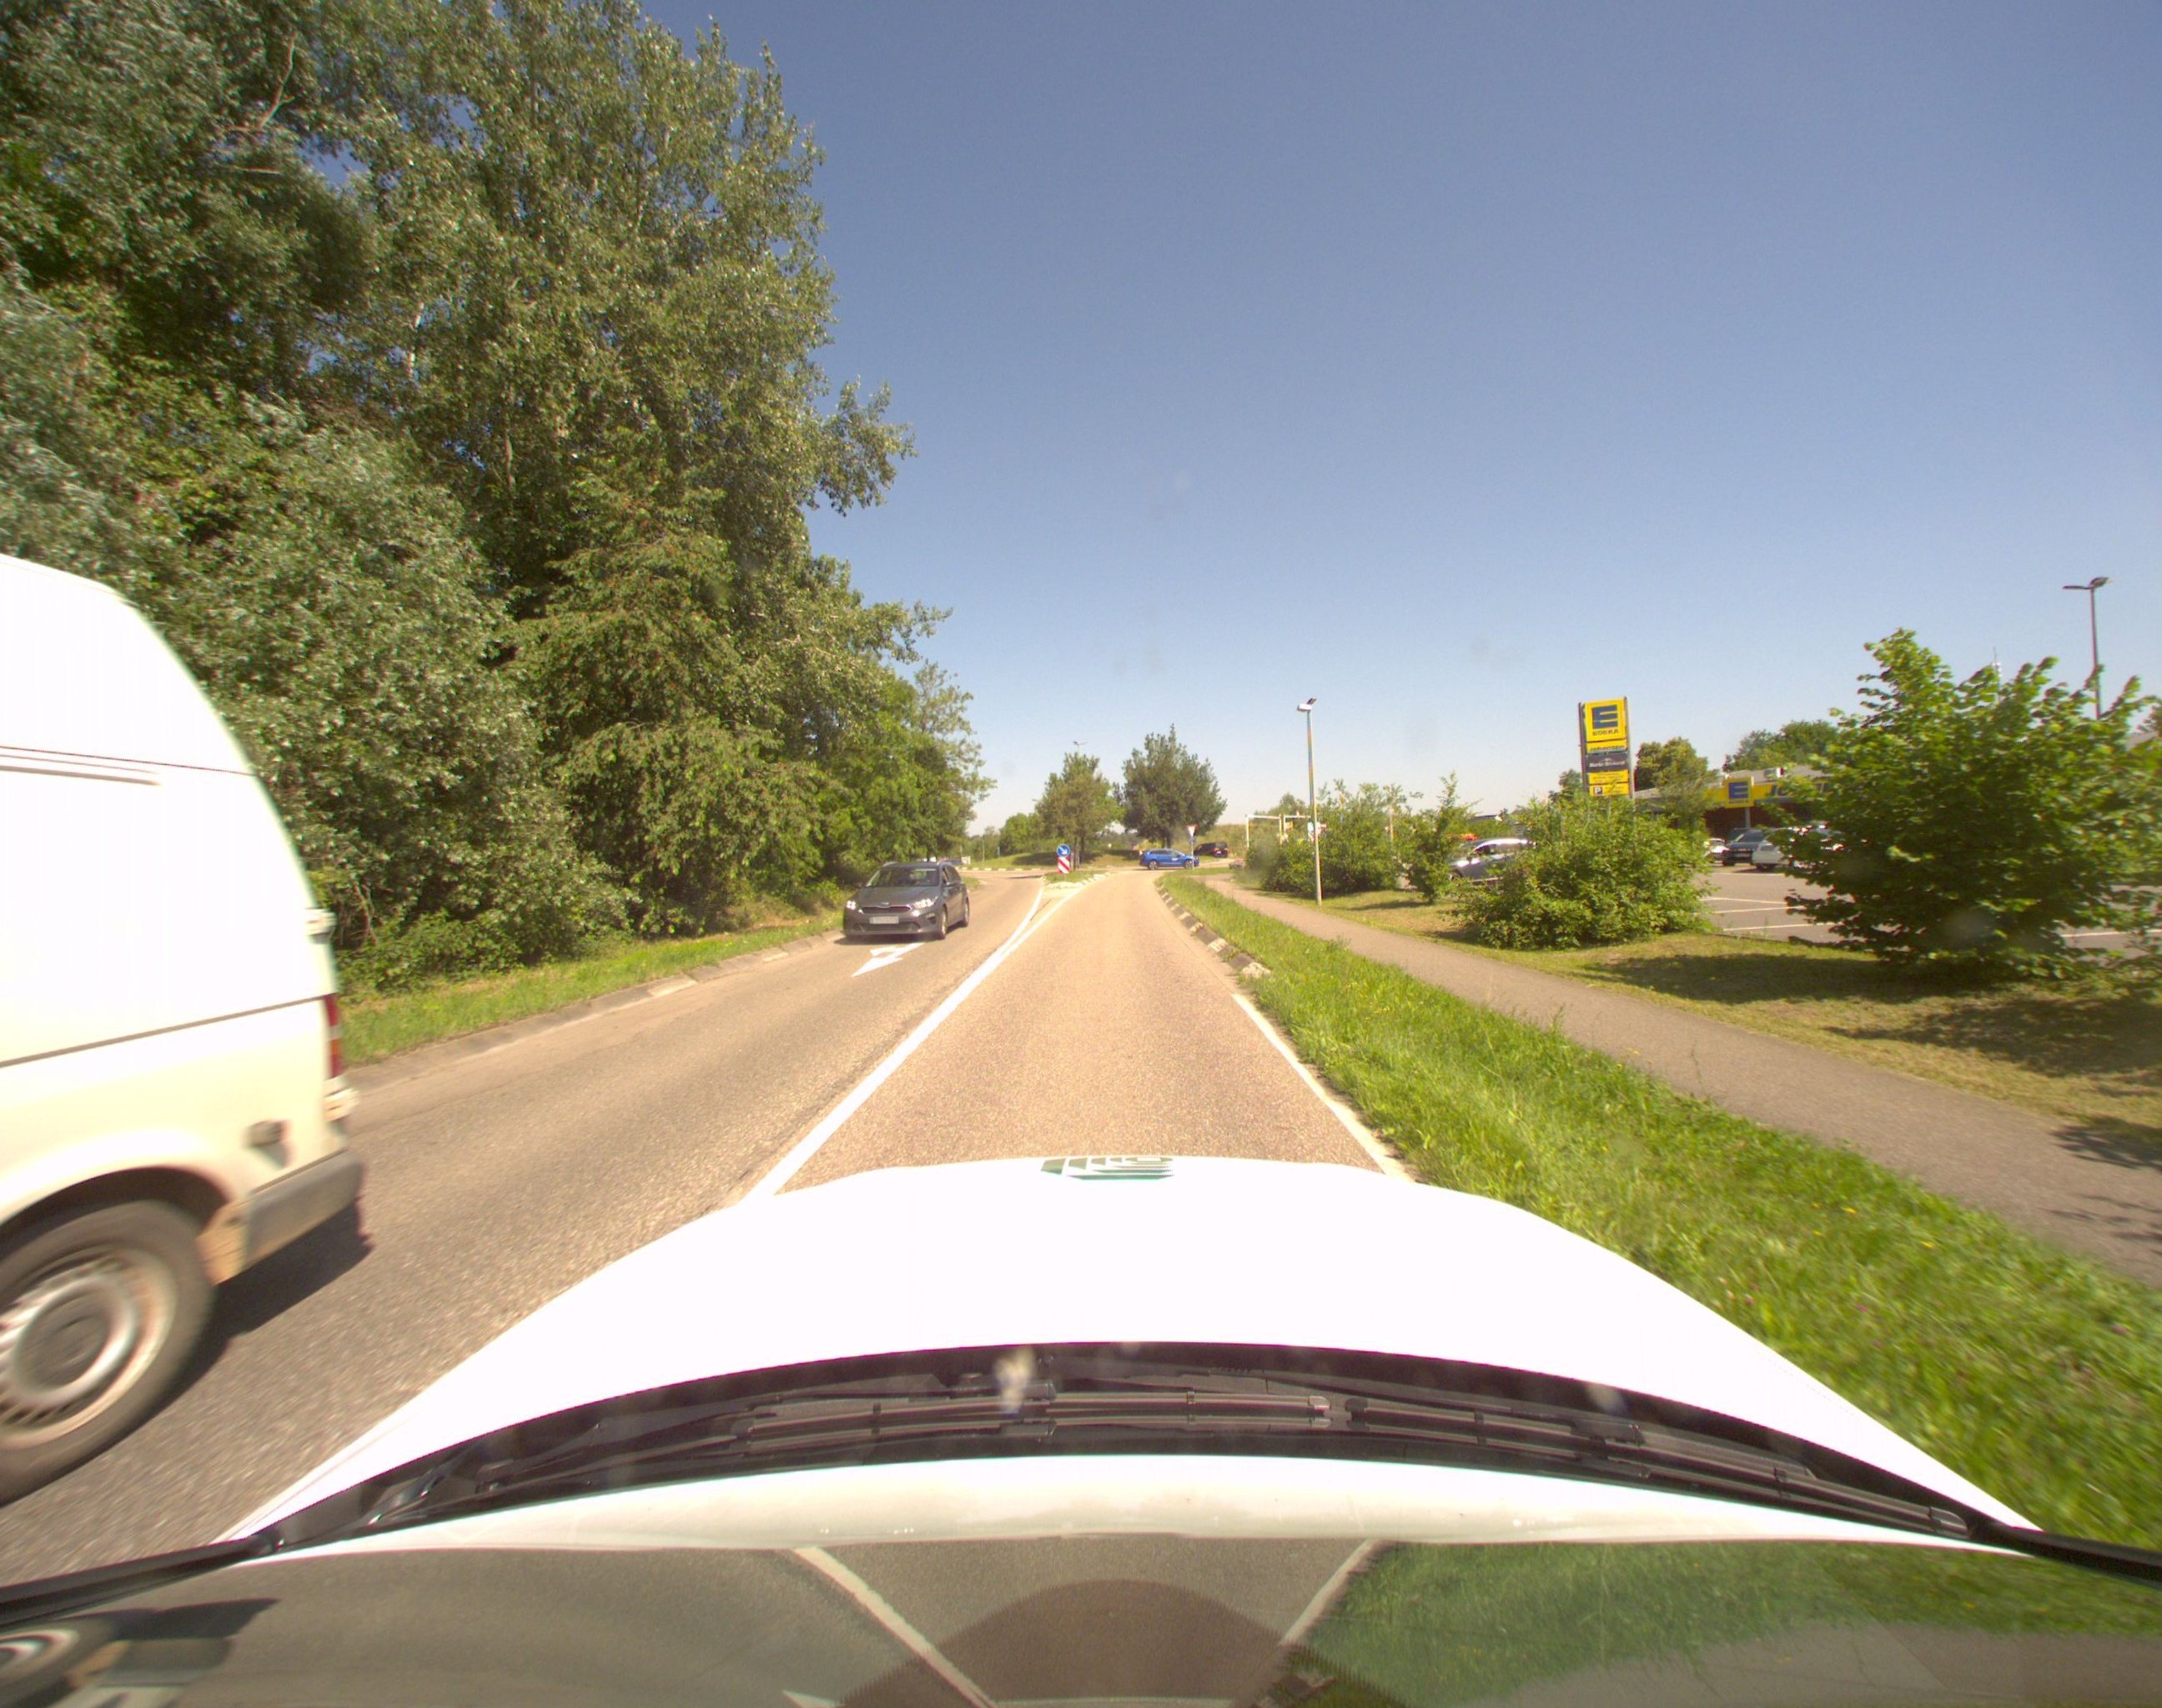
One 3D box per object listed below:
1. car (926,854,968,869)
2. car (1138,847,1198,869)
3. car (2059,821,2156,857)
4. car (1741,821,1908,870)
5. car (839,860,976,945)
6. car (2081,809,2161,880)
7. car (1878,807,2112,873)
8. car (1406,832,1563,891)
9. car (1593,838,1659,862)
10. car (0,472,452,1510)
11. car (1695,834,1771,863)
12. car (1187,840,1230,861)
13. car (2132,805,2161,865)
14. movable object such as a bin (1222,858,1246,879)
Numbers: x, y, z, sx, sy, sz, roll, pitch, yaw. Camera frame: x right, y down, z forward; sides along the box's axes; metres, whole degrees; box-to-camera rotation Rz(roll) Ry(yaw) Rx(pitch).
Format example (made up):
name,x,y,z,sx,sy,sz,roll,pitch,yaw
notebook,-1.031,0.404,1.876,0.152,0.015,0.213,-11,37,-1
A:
name,x,y,z,sx,sy,sz,roll,pitch,yaw
car,-14.199,0.815,86.499,1.815,1.387,4.452,-3,1,30
car,6.649,0.287,62.457,4.400,1.571,1.716,-2,0,-1
car,43.550,-0.637,34.547,4.007,1.398,1.701,-2,0,-26
car,24.952,-0.285,27.442,3.969,1.442,1.653,-2,0,4
car,-3.282,0.857,16.289,1.692,1.389,4.295,-2,0,1
car,23.849,-0.271,17.054,3.981,1.427,1.746,-2,0,-5
car,24.549,-0.362,21.999,4.140,1.574,1.999,-2,0,-1
car,12.829,0.235,26.092,4.102,1.627,1.753,-3,0,2
car,34.856,-0.260,52.128,3.490,1.458,1.706,-2,0,-18
car,-3.480,0.332,0.716,1.905,2.400,4.911,-2,0,1
car,36.874,-0.328,46.058,3.490,1.498,1.706,-2,0,-18
car,13.645,-0.352,87.308,3.949,2.013,2.012,-2,0,42
car,33.190,-0.549,23.842,4.567,1.702,1.983,0,-1,-25
movable object such as a bin,8.695,0.802,46.177,0.859,1.120,1.464,-1,0,30
